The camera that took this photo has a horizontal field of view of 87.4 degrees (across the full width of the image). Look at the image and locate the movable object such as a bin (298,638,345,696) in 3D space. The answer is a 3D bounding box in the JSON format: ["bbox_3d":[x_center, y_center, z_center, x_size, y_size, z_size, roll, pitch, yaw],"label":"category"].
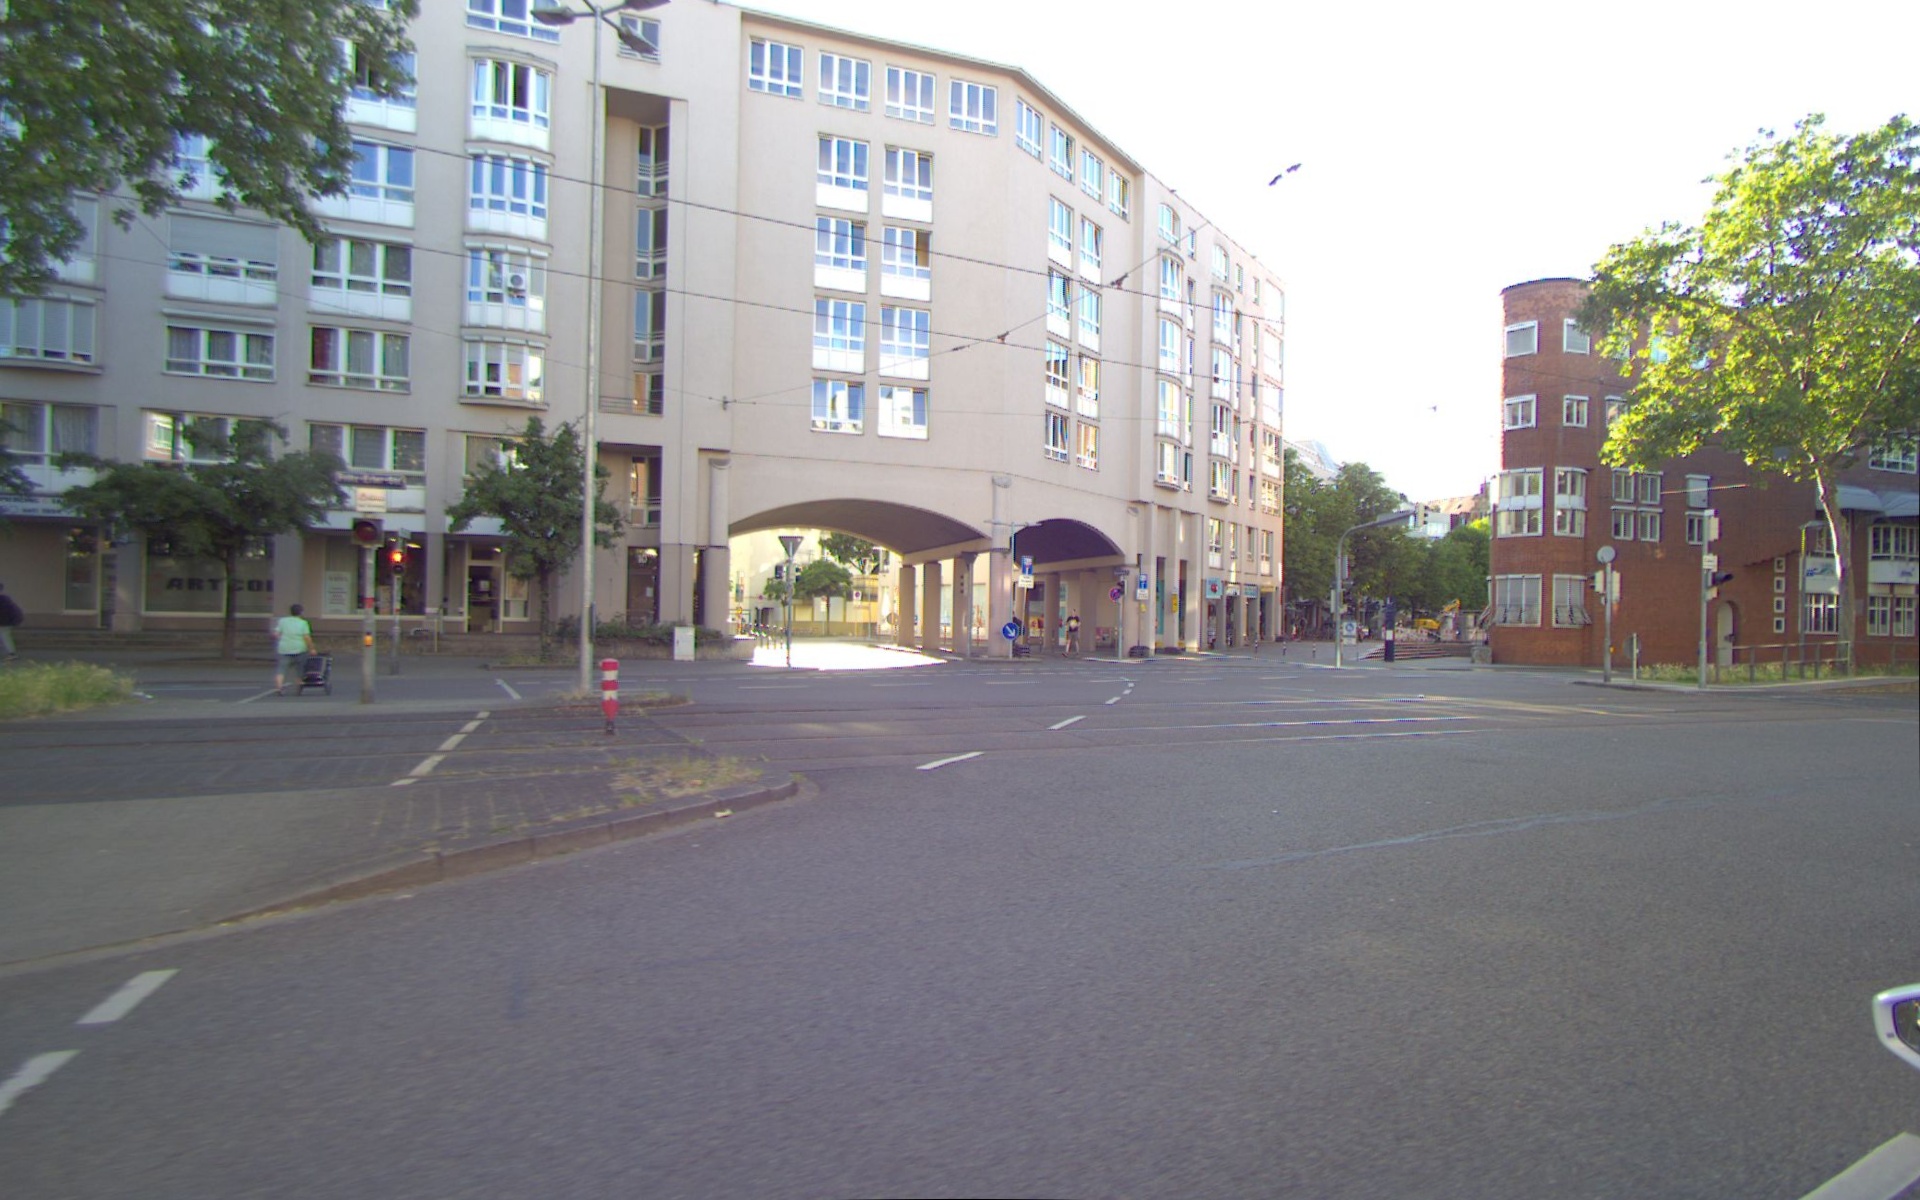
[{"bbox_3d":[-11.000,1.150,17.313,0.530,0.966,0.510,1,-1,-16],"label":"movable object such as a bin"}]

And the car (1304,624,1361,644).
[{"bbox_3d":[29.155,2.654,78.647,3.926,1.419,1.998,1,-1,28],"label":"car"}]

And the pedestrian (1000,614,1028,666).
[{"bbox_3d":[1.980,1.462,36.901,0.741,1.894,0.853,1,-1,-22],"label":"pedestrian"}]

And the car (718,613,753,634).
[{"bbox_3d":[-19.022,1.991,85.048,1.876,1.752,3.626,2,-1,-29],"label":"car"}]

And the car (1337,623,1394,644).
[{"bbox_3d":[32.596,2.685,80.810,3.938,1.576,1.992,2,-1,-19],"label":"car"}]

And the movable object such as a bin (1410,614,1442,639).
[{"bbox_3d":[43.561,2.483,93.889,2.769,2.341,1.907,2,-1,-44],"label":"movable object such as a bin"}]

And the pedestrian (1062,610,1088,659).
[{"bbox_3d":[4.921,1.473,42.965,0.822,2.040,0.885,1,-1,31],"label":"pedestrian"}]

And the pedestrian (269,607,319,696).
[{"bbox_3d":[-11.610,0.885,17.522,0.526,1.523,0.618,1,-1,-16],"label":"pedestrian"}]

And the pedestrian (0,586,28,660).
[{"bbox_3d":[-21.991,0.516,22.934,0.776,1.660,0.706,1,-1,-18],"label":"pedestrian"}]
